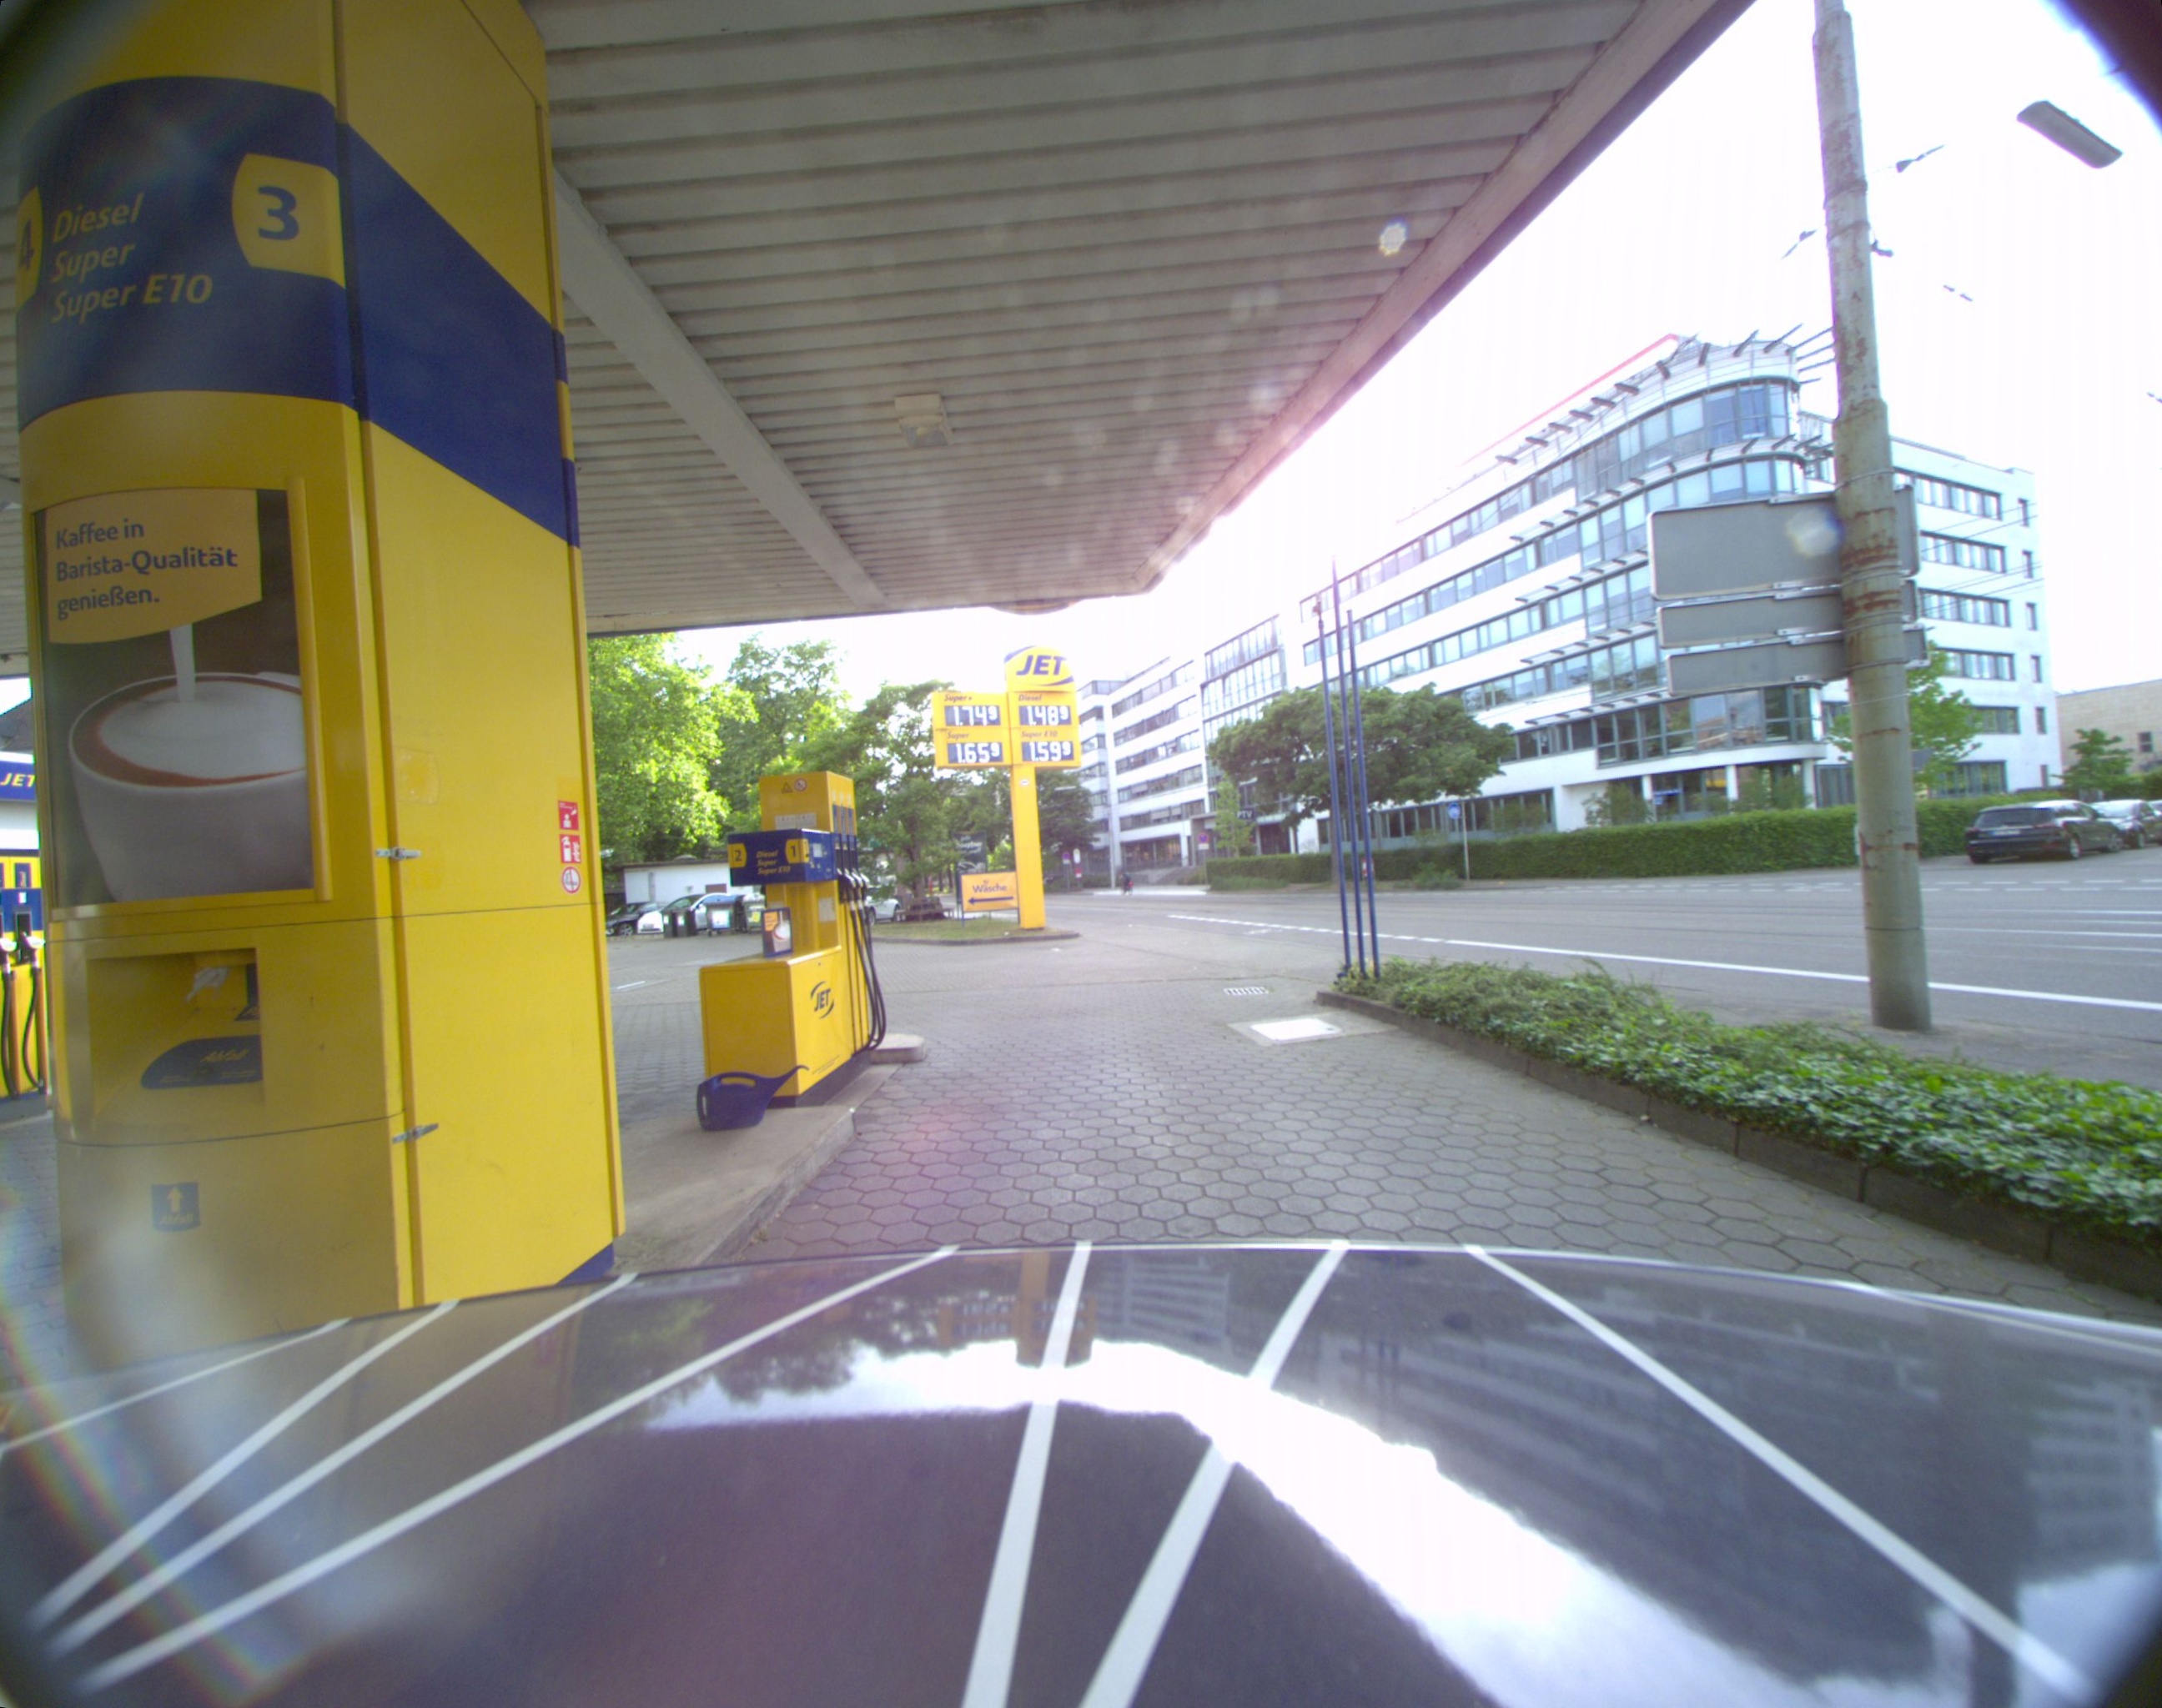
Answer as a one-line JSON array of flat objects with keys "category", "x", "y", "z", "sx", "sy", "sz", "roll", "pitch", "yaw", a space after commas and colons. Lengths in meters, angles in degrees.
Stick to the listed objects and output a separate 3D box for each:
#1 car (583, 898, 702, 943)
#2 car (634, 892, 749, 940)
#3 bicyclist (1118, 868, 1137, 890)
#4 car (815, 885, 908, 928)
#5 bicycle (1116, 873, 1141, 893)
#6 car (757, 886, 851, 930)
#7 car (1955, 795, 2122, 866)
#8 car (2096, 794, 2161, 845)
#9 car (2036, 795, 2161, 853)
[{"category": "car", "x": -17.521, "y": 2.627, "z": 30.615, "sx": 1.823, "sy": 1.426, "sz": 4.200, "roll": -4, "pitch": -2, "yaw": 10}, {"category": "car", "x": -15.376, "y": 2.408, "z": 30.260, "sx": 1.823, "sy": 1.575, "sz": 4.200, "roll": -4, "pitch": -2, "yaw": 10}, {"category": "bicyclist", "x": 3.088, "y": 1.656, "z": 50.529, "sx": 0.792, "sy": 1.443, "sz": 1.174, "roll": -3, "pitch": 1, "yaw": -25}, {"category": "car", "x": -8.643, "y": 2.042, "z": 30.384, "sx": 1.823, "sy": 1.449, "sz": 4.200, "roll": -4, "pitch": -2, "yaw": 10}, {"category": "bicycle", "x": 3.130, "y": 1.930, "z": 50.489, "sx": 0.792, "sy": 1.232, "sz": 1.879, "roll": -3, "pitch": 1, "yaw": -25}, {"category": "car", "x": -11.733, "y": 2.260, "z": 32.471, "sx": 1.823, "sy": 1.575, "sz": 4.200, "roll": -4, "pitch": -2, "yaw": 10}, {"category": "car", "x": 27.430, "y": -0.675, "z": 21.761, "sx": 4.397, "sy": 1.678, "sz": 1.820, "roll": -4, "pitch": -1, "yaw": -24}, {"category": "car", "x": 37.117, "y": -1.260, "z": 26.019, "sx": 4.201, "sy": 1.568, "sz": 1.820, "roll": -4, "pitch": -1, "yaw": -24}, {"category": "car", "x": 32.588, "y": -0.966, "z": 24.071, "sx": 4.201, "sy": 1.568, "sz": 1.820, "roll": -4, "pitch": -1, "yaw": -24}]
